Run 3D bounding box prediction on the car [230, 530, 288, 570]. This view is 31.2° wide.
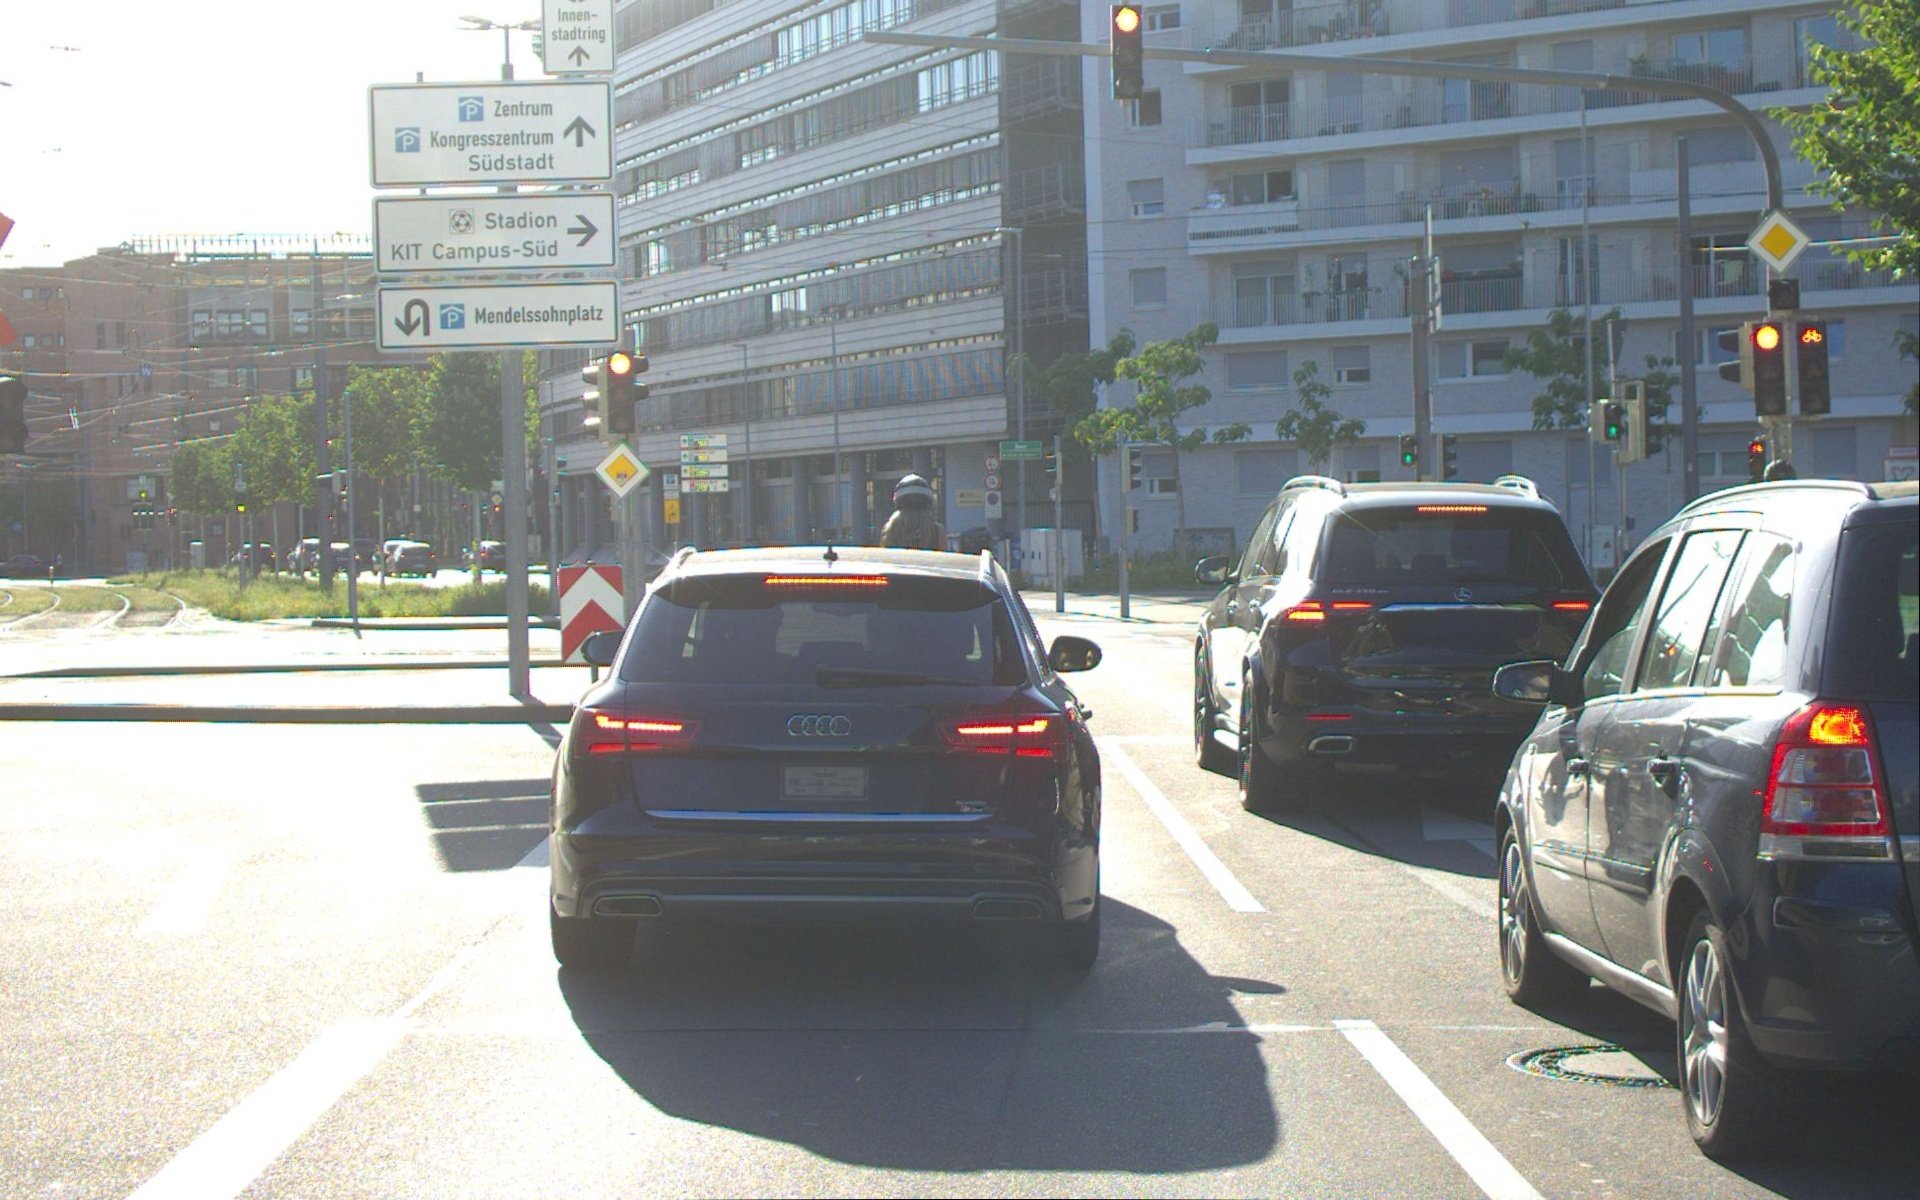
[{"bbox_3d":[-31.381,-2.224,153.833,1.993,1.700,4.001,-2,1,-18],"label":"car"}]

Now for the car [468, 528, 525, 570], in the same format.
[{"bbox_3d":[-21.367,-2.323,158.326,1.993,1.831,4.001,-2,1,-16],"label":"car"}]

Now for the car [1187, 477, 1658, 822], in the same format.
[{"bbox_3d":[2.450,0.184,19.332,2.003,1.709,4.373,0,2,-1],"label":"car"}]

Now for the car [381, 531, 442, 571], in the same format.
[{"bbox_3d":[-23.334,-2.056,146.055,1.993,1.590,4.001,-2,1,-17],"label":"car"}]

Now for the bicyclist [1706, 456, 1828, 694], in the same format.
[{"bbox_3d":[5.690,-0.185,24.271,0.654,1.637,0.972,-1,2,3],"label":"bicyclist"}]

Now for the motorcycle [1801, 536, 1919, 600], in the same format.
[{"bbox_3d":[14.991,-0.527,56.072,2.454,0.997,1.171,-1,1,15],"label":"motorcycle"}]

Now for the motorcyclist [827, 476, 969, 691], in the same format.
[{"bbox_3d":[-0.386,-0.109,21.750,0.862,1.322,0.681,-1,1,0],"label":"motorcyclist"}]

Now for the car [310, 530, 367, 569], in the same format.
[{"bbox_3d":[-26.871,-2.184,148.612,1.993,1.590,4.001,-2,1,-16],"label":"car"}]

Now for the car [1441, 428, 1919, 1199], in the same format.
[{"bbox_3d":[2.517,0.447,9.437,1.746,1.690,4.261,1,1,0],"label":"car"}]

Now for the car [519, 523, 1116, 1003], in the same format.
[{"bbox_3d":[-0.473,0.464,12.673,1.842,1.449,4.001,0,2,-1],"label":"car"}]

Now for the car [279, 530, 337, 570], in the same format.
[{"bbox_3d":[-29.393,-2.241,154.935,1.993,1.700,4.001,-2,1,-18],"label":"car"}]

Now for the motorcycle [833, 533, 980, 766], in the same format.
[{"bbox_3d":[-0.332,0.282,21.704,0.862,1.388,1.894,-1,1,0],"label":"motorcycle"}]

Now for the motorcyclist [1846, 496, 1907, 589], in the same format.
[{"bbox_3d":[14.934,-0.941,56.060,0.925,1.476,1.171,-1,1,15],"label":"motorcyclist"}]
